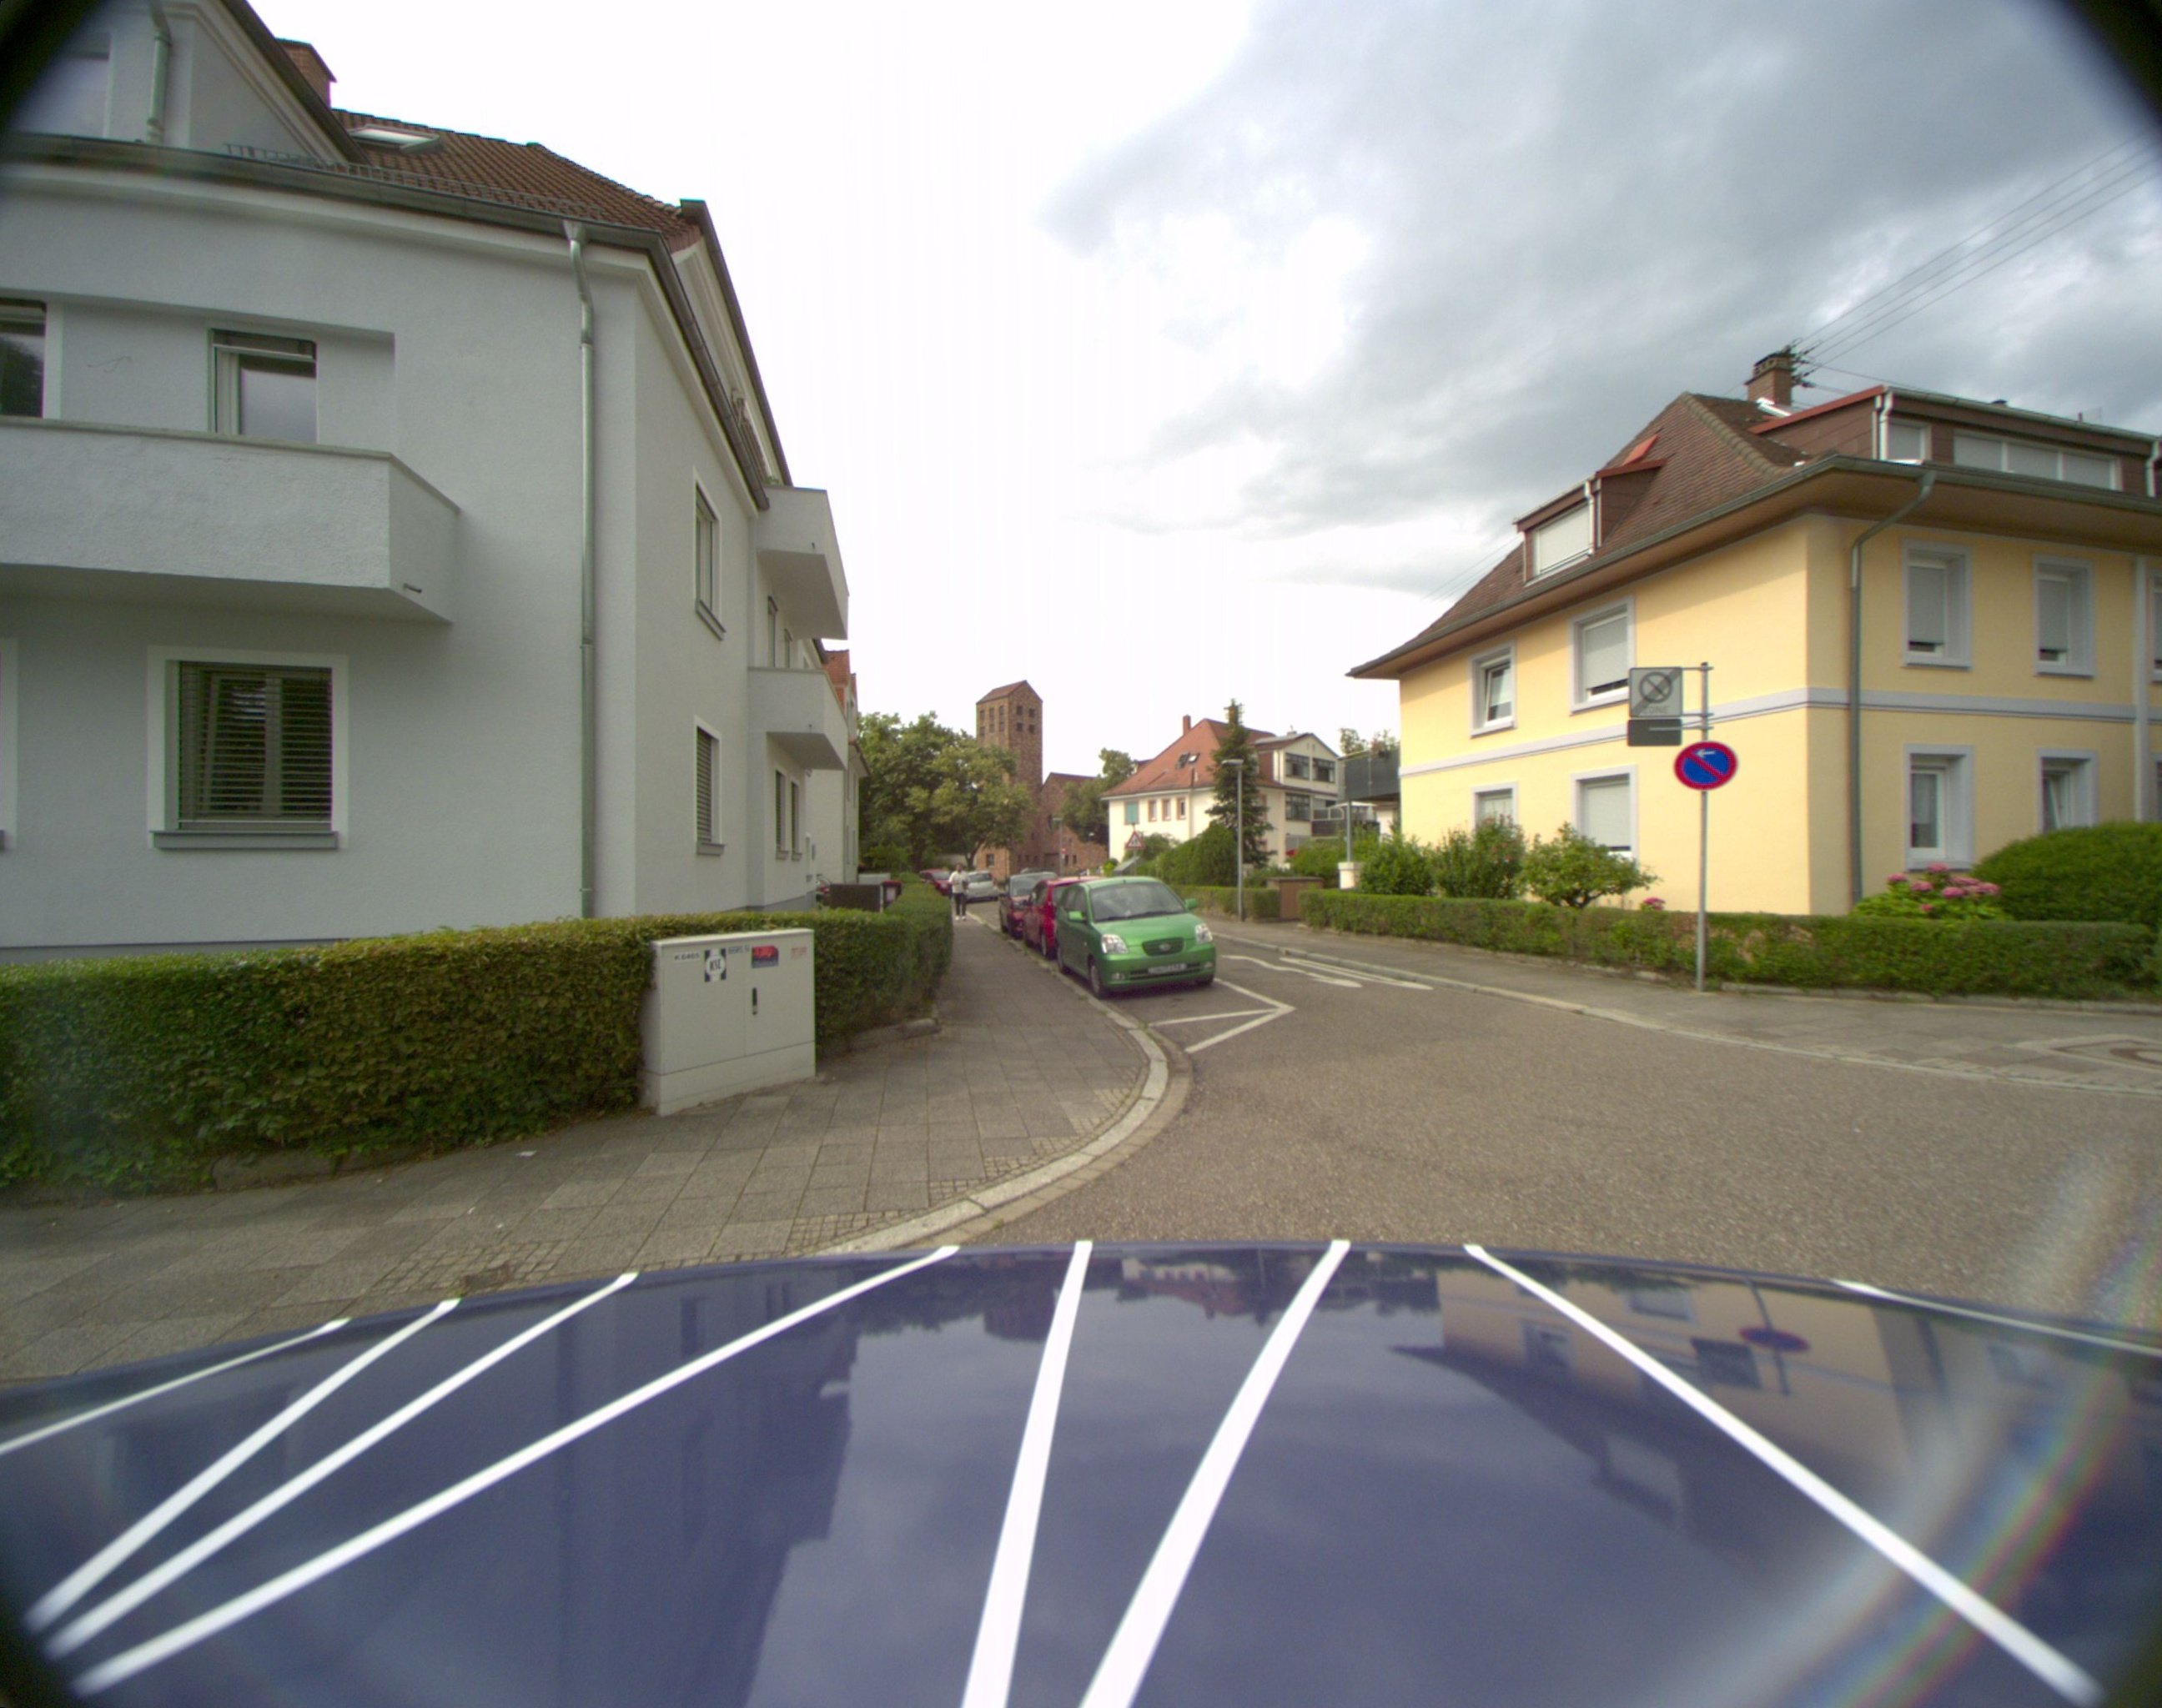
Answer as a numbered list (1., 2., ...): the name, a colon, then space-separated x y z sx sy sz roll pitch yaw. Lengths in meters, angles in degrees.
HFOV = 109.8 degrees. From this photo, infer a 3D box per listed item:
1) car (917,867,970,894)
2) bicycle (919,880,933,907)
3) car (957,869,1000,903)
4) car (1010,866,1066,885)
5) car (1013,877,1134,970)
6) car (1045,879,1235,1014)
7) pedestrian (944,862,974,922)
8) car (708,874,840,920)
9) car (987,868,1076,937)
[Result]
1. car: -8.408 1.647 46.346 1.654 1.487 3.473 -4 0 -38
2. bicycle: -6.861 1.732 33.609 0.423 1.097 2.112 0 0 -16
3. car: -5.111 1.527 37.594 1.651 1.487 3.477 -4 0 -13
4. car: -3.413 1.684 59.855 4.229 1.456 1.682 0 1 -13
5. car: -0.275 1.282 15.365 1.651 1.487 3.477 -4 0 -13
6. car: 0.664 1.160 10.875 1.651 1.413 3.477 -4 0 -13
7. pedestrian: -3.929 1.200 24.455 0.884 1.867 1.077 0 0 -12
8. car: -10.665 1.464 26.733 4.001 1.455 1.998 0 -1 -12
9. car: -1.369 1.161 19.561 1.651 1.487 3.477 -4 0 -13
